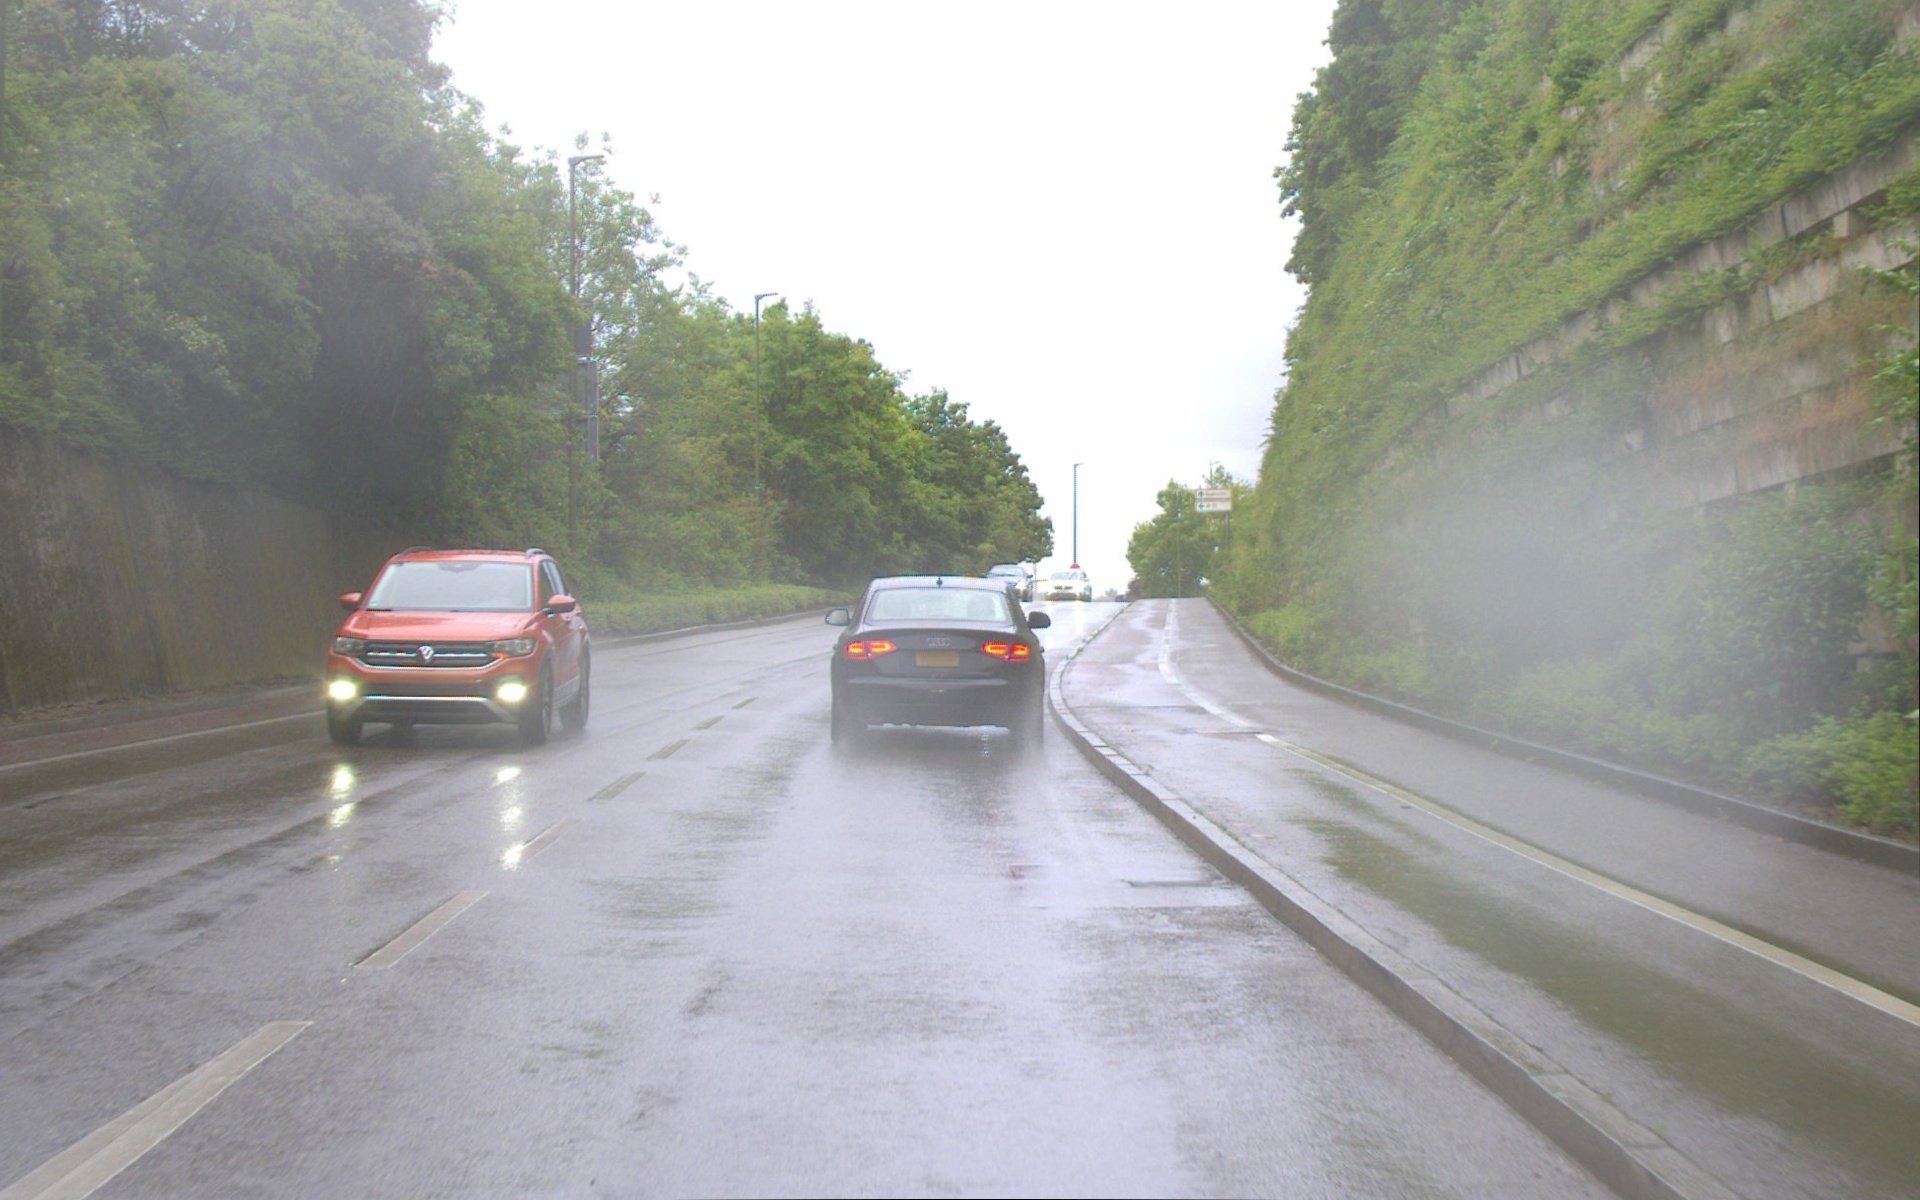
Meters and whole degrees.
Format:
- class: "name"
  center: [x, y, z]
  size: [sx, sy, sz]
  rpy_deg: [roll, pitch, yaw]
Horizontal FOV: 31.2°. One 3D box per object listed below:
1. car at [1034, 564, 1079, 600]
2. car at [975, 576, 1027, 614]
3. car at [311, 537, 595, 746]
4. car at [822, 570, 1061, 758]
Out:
- class: "car"
  center: [4.534, -0.844, 161.065]
  size: [1.823, 1.609, 4.092]
  rpy_deg: [-1, -1, 5]
- class: "car"
  center: [1.568, -0.190, 130.829]
  size: [1.865, 1.444, 4.377]
  rpy_deg: [0, 0, 2]
- class: "car"
  center: [-4.174, 0.327, 28.847]
  size: [1.733, 1.612, 4.000]
  rpy_deg: [-1, 0, 1]
- class: "car"
  center: [-0.123, 0.511, 29.505]
  size: [1.892, 1.487, 4.207]
  rpy_deg: [0, 0, 1]
